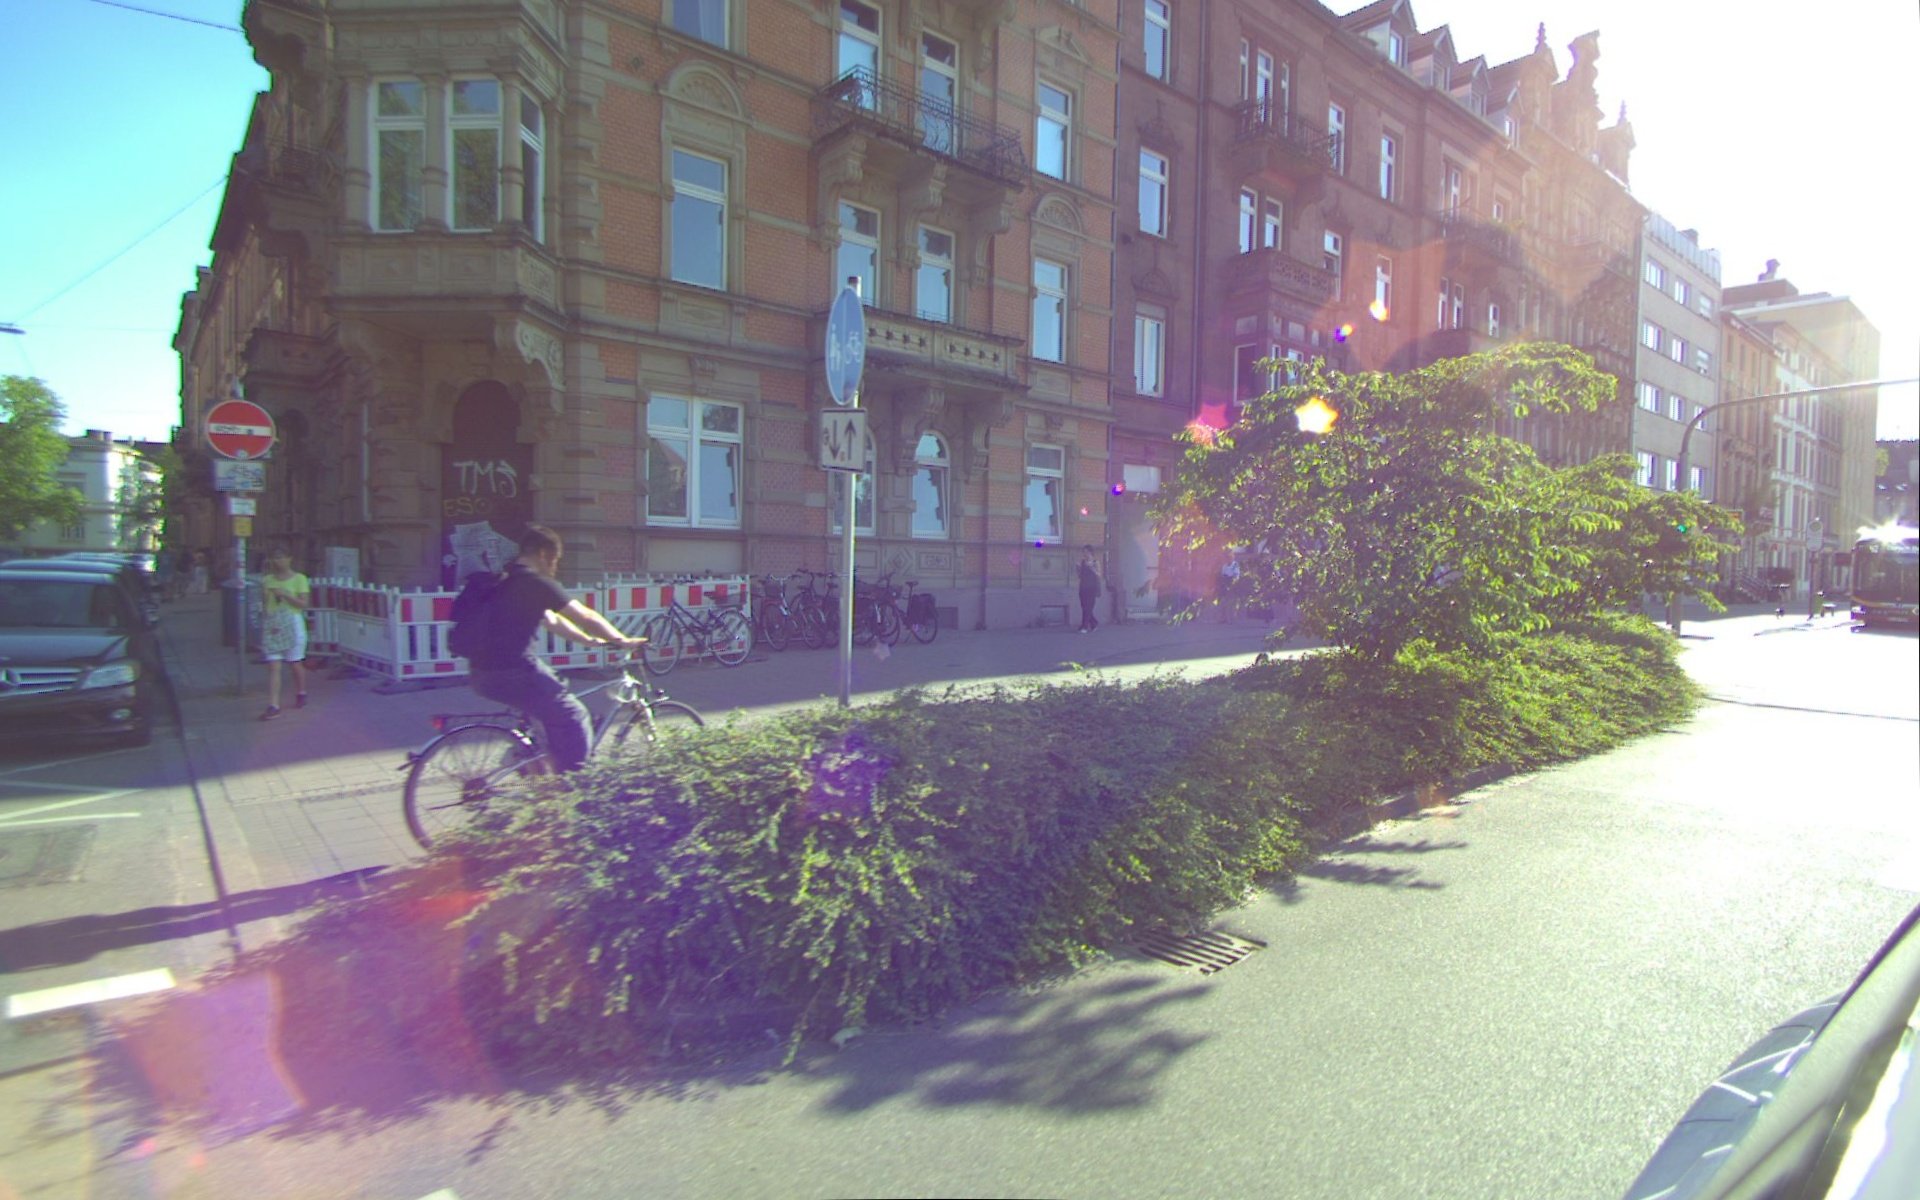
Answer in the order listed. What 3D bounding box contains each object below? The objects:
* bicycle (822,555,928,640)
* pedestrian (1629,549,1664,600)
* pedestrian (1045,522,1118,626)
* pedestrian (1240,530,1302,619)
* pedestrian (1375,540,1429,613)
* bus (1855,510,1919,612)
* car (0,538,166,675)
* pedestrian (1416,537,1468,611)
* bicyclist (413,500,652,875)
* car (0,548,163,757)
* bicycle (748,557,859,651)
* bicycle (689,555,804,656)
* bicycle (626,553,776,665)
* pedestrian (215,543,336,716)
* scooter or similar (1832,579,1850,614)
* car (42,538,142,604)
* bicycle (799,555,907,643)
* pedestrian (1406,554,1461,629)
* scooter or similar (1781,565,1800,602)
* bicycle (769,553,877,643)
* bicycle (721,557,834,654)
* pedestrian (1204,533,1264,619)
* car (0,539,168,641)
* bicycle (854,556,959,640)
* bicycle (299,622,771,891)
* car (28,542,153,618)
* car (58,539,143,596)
[{"bbox_3d":[-1.396,-0.069,16.375,1.880,1.253,0.484,4,5,39],"label":"bicycle"},{"bbox_3d":[25.771,-0.950,37.976,0.852,1.856,0.767,5,2,45],"label":"pedestrian"},{"bbox_3d":[2.340,-0.512,19.528,1.117,1.953,0.824,-1,3,-40],"label":"pedestrian"},{"bbox_3d":[6.984,-0.583,22.744,1.117,1.953,0.824,-1,3,-40],"label":"pedestrian"},{"bbox_3d":[10.436,-0.571,23.880,1.117,1.676,0.704,-1,3,-40],"label":"pedestrian"},{"bbox_3d":[34.996,-1.335,36.090,12.320,3.219,2.722,-1,4,-40],"label":"bus"},{"bbox_3d":[-11.246,-0.007,12.741,1.779,1.433,4.265,3,1,-37],"label":"car"},{"bbox_3d":[13.001,-0.720,27.283,1.117,1.953,0.824,-1,3,-40],"label":"pedestrian"},{"bbox_3d":[-2.307,0.394,5.501,1.034,1.836,0.642,-2,5,-41],"label":"bicyclist"},{"bbox_3d":[-8.244,0.303,8.920,1.780,1.433,4.261,2,2,-40],"label":"car"},{"bbox_3d":[-2.344,0.023,15.027,1.880,1.253,0.484,4,5,39],"label":"bicycle"},{"bbox_3d":[-2.987,0.039,14.048,1.880,1.253,0.484,4,5,39],"label":"bicycle"},{"bbox_3d":[-3.170,0.070,12.562,0.488,1.253,1.862,4,5,40],"label":"bicycle"},{"bbox_3d":[-6.420,0.252,9.523,0.649,1.553,0.703,1,2,1],"label":"pedestrian"},{"bbox_3d":[33.695,-0.154,38.712,0.431,1.264,1.276,4,5,40],"label":"scooter or similar"},{"bbox_3d":[-23.837,-0.833,27.908,1.779,1.608,4.264,3,1,-37],"label":"car"},{"bbox_3d":[-1.703,-0.045,15.890,1.880,1.253,0.484,4,5,39],"label":"bicycle"},{"bbox_3d":[10.892,-0.219,23.292,1.117,1.676,0.704,-1,3,-40],"label":"pedestrian"},{"bbox_3d":[29.783,-0.614,36.306,0.430,1.264,1.277,4,5,38],"label":"scooter or similar"},{"bbox_3d":[-2.122,-0.062,15.490,1.880,1.253,0.484,4,5,39],"label":"bicycle"},{"bbox_3d":[-2.641,0.048,14.535,1.880,1.253,0.484,4,5,39],"label":"bicycle"},{"bbox_3d":[6.377,-0.573,23.542,1.117,1.953,0.824,-1,3,-40],"label":"pedestrian"},{"bbox_3d":[-14.228,-0.226,16.636,1.779,1.433,4.264,3,1,-37],"label":"car"},{"bbox_3d":[-0.901,-0.064,16.703,1.880,1.253,0.484,4,5,39],"label":"bicycle"},{"bbox_3d":[-2.224,0.736,5.595,2.319,1.060,0.642,-3,5,-41],"label":"bicycle"},{"bbox_3d":[-18.958,-0.481,22.229,1.779,1.433,4.264,3,1,-37],"label":"car"},{"bbox_3d":[-27.175,-1.067,32.107,1.779,1.608,4.264,3,1,-37],"label":"car"}]
